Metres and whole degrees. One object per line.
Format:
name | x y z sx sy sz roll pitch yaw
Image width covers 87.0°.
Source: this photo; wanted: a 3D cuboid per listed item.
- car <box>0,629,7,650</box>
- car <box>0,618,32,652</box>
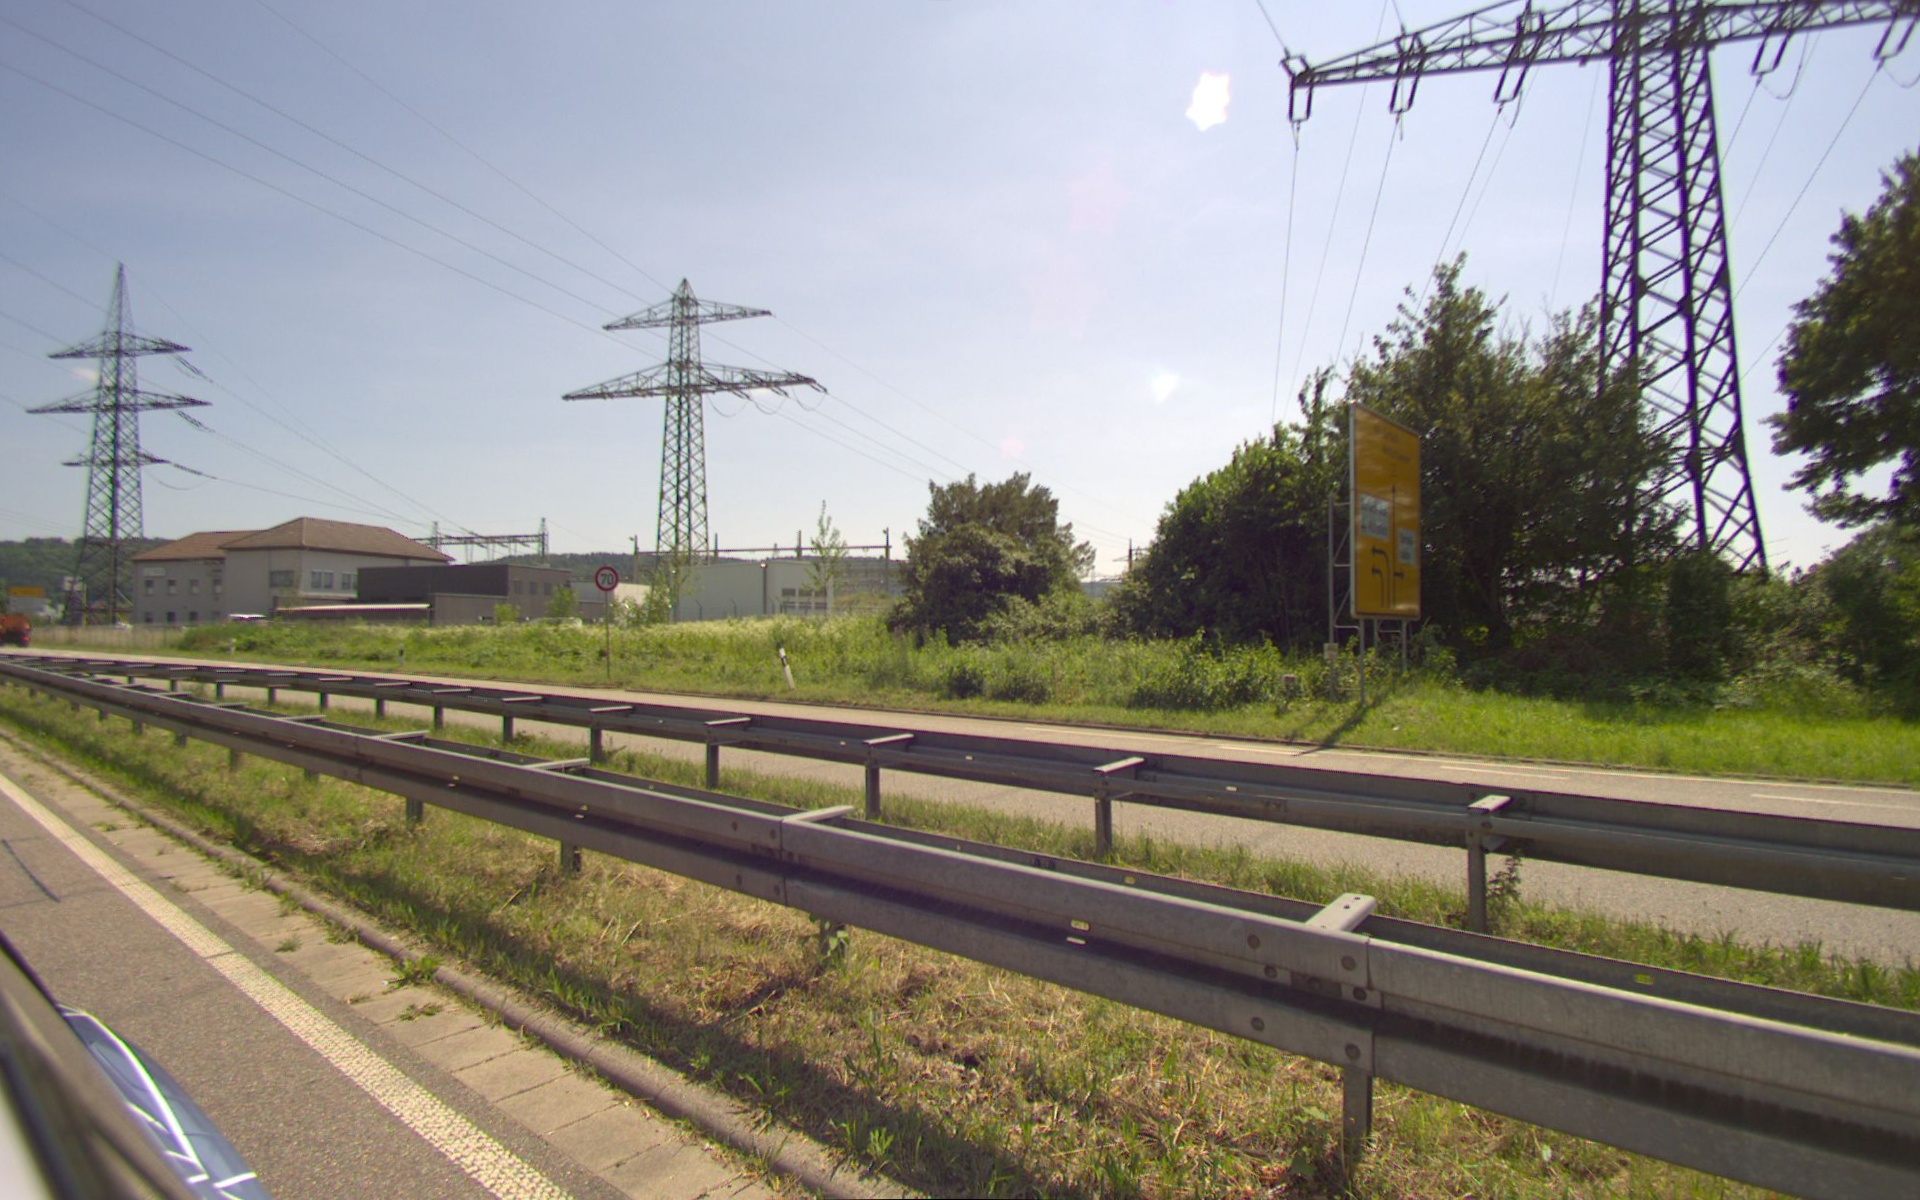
car | -95.394 3.894 99.399 3.993 1.929 1.975 0 0 37
car | -87.819 3.230 93.272 5.634 3.084 2.574 -2 -3 40
